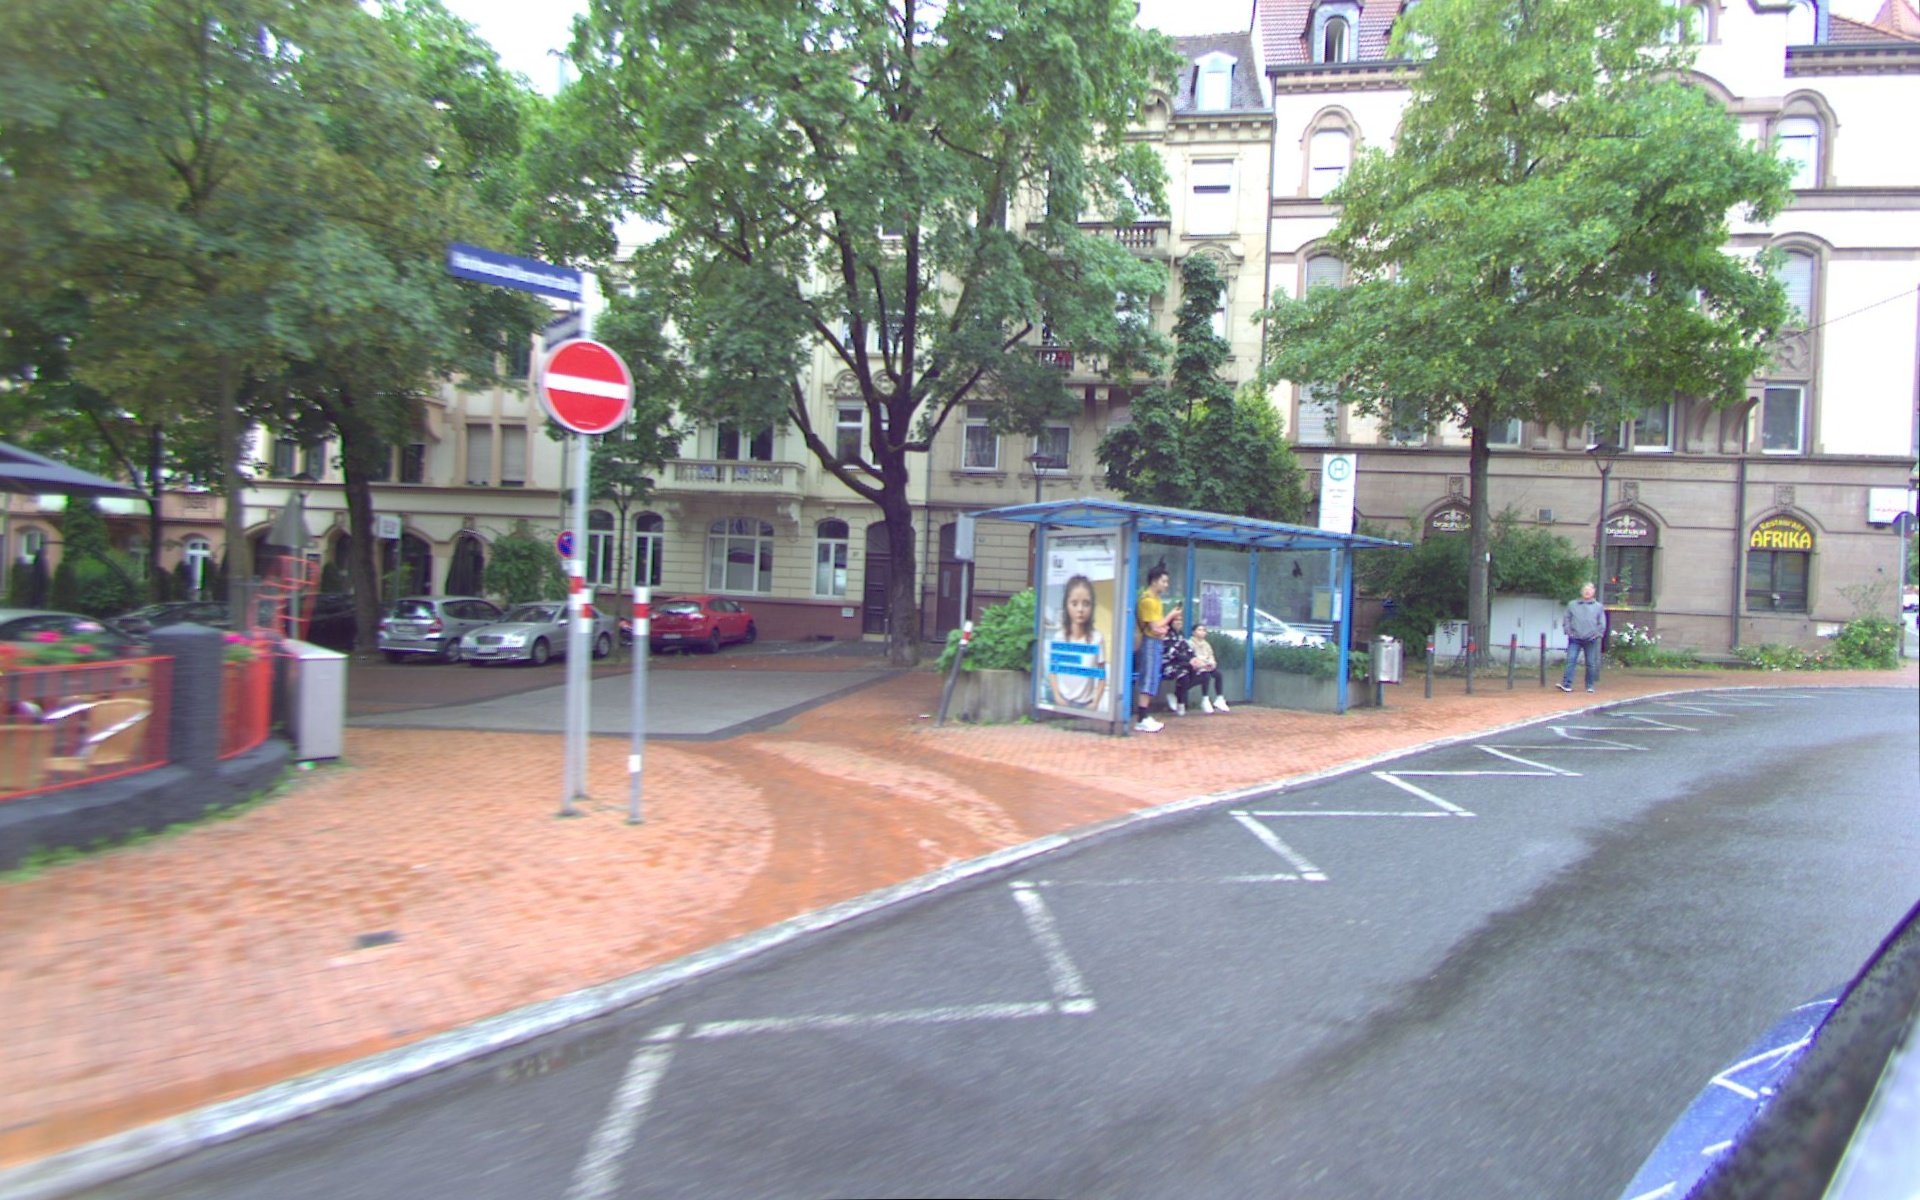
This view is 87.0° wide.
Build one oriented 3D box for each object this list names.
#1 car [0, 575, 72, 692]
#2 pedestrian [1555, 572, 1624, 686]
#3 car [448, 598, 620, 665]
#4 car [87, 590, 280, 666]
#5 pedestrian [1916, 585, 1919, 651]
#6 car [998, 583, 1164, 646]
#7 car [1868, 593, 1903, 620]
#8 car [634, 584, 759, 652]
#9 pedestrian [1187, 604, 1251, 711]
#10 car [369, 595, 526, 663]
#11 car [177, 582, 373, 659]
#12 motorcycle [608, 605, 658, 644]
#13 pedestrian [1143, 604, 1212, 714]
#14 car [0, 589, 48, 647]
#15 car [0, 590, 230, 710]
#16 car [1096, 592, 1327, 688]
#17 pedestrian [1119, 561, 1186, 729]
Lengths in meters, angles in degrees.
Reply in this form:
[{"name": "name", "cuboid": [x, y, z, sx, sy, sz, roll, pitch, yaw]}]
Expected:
[{"name": "car", "cuboid": [-15.400, 0.496, 14.366, 1.763, 1.749, 3.989, 0, 0, 9]}, {"name": "pedestrian", "cuboid": [9.957, 0.454, 16.014, 0.716, 1.756, 0.574, 0, -1, -14]}, {"name": "car", "cuboid": [-9.781, 0.672, 23.655, 1.680, 1.413, 4.322, 0, 0, 9]}, {"name": "car", "cuboid": [-18.741, 0.628, 24.627, 1.564, 1.688, 3.641, 0, 0, 9]}, {"name": "pedestrian", "cuboid": [25.033, 0.490, 25.584, 0.881, 1.699, 0.827, 2, 1, 14]}, {"name": "car", "cuboid": [3.054, 0.356, 25.587, 3.769, 1.495, 1.775, 0, 0, -19]}, {"name": "car", "cuboid": [65.348, 0.439, 71.495, 1.521, 1.636, 3.444, 7, 6, 40]}, {"name": "car", "cuboid": [-7.052, 0.415, 27.500, 1.846, 1.546, 3.991, 0, 3, 9]}, {"name": "pedestrian", "cuboid": [3.244, 0.705, 12.675, 0.524, 1.296, 0.571, 1, -1, -31]}, {"name": "car", "cuboid": [-12.033, 0.633, 24.005, 1.564, 1.484, 3.491, 0, 0, 9]}, {"name": "car", "cuboid": [-16.129, 0.444, 24.065, 1.653, 1.688, 3.770, 0, 0, 12]}, {"name": "motorcycle", "cuboid": [-9.180, 0.682, 28.462, 0.442, 0.933, 1.620, 0, 4, 19]}, {"name": "pedestrian", "cuboid": [2.650, 0.698, 12.341, 0.606, 1.296, 0.572, 1, -1, -30]}, {"name": "car", "cuboid": [-26.583, 0.469, 26.625, 1.654, 1.556, 3.641, 0, 0, 9]}, {"name": "car", "cuboid": [-13.047, 0.637, 14.222, 1.763, 1.547, 4.635, 0, 0, 9]}, {"name": "car", "cuboid": [4.151, 0.674, 17.238, 3.613, 1.522, 1.766, -1, -2, 9]}, {"name": "pedestrian", "cuboid": [2.115, 0.485, 11.163, 0.534, 1.798, 0.561, 0, -1, -15]}]
